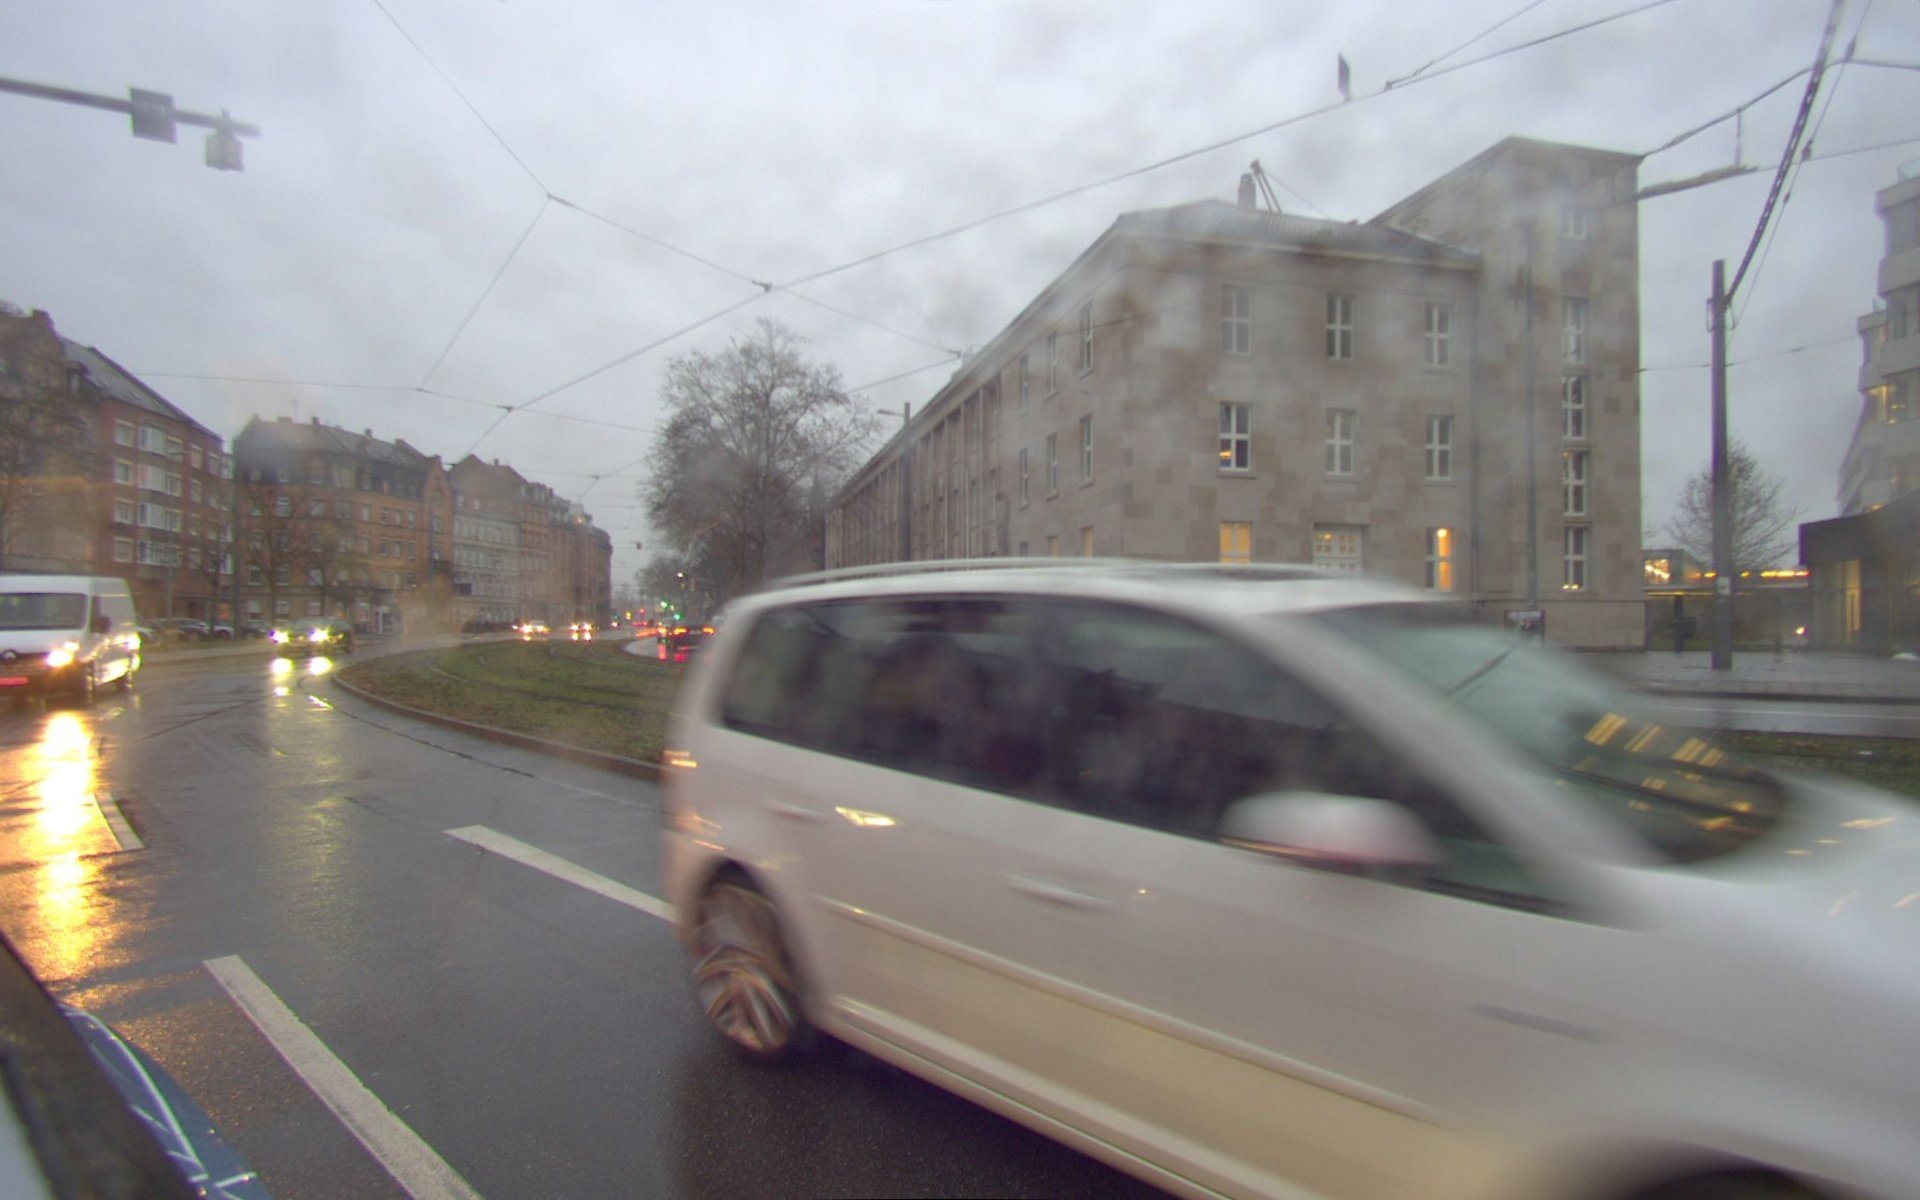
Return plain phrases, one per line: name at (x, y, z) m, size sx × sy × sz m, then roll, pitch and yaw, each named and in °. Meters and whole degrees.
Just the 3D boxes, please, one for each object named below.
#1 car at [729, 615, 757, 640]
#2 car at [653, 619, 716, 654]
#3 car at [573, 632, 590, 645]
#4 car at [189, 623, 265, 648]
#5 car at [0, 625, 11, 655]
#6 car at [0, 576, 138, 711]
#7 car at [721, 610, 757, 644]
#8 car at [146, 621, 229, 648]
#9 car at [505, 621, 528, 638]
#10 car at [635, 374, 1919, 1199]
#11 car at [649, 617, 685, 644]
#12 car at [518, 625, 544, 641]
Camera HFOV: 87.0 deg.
car at (-13.280, 1.645, 61.847) m, size 1.535 × 1.439 × 2.963 m, roll 0°, pitch 0°, yaw -14°
car at (-12.380, 1.590, 45.258) m, size 1.634 × 1.411 × 4.537 m, roll -2°, pitch 0°, yaw -29°
car at (-45.463, 4.658, 121.605) m, size 1.809 × 1.497 × 3.533 m, roll 0°, pitch -2°, yaw -22°
car at (-44.605, 2.145, 61.605) m, size 3.706 × 1.364 × 1.605 m, roll -2°, pitch 0°, yaw -39°
car at (-50.681, 2.070, 51.670) m, size 1.449 × 1.555 × 3.881 m, roll 0°, pitch -2°, yaw -12°
car at (-18.423, 0.822, 20.352) m, size 2.094 × 2.398 × 5.655 m, roll -1°, pitch -1°, yaw -30°
car at (-14.474, 1.710, 66.216) m, size 1.966 × 2.029 × 4.522 m, roll -2°, pitch 0°, yaw -15°
car at (-43.984, 1.938, 57.693) m, size 3.706 × 1.364 × 1.605 m, roll -2°, pitch 0°, yaw -39°
car at (-43.925, 2.939, 100.352) m, size 1.694 × 1.630 × 3.950 m, roll 0°, pitch -2°, yaw -17°
car at (0.903, 0.558, 2.786) m, size 4.149 × 1.672 × 1.651 m, roll -2°, pitch 0°, yaw 45°
car at (-17.511, 1.807, 60.348) m, size 1.795 × 1.446 × 4.670 m, roll -2°, pitch 0°, yaw -19°
car at (-39.081, 3.019, 92.212) m, size 1.865 × 1.424 × 3.959 m, roll 0°, pitch -2°, yaw -19°
